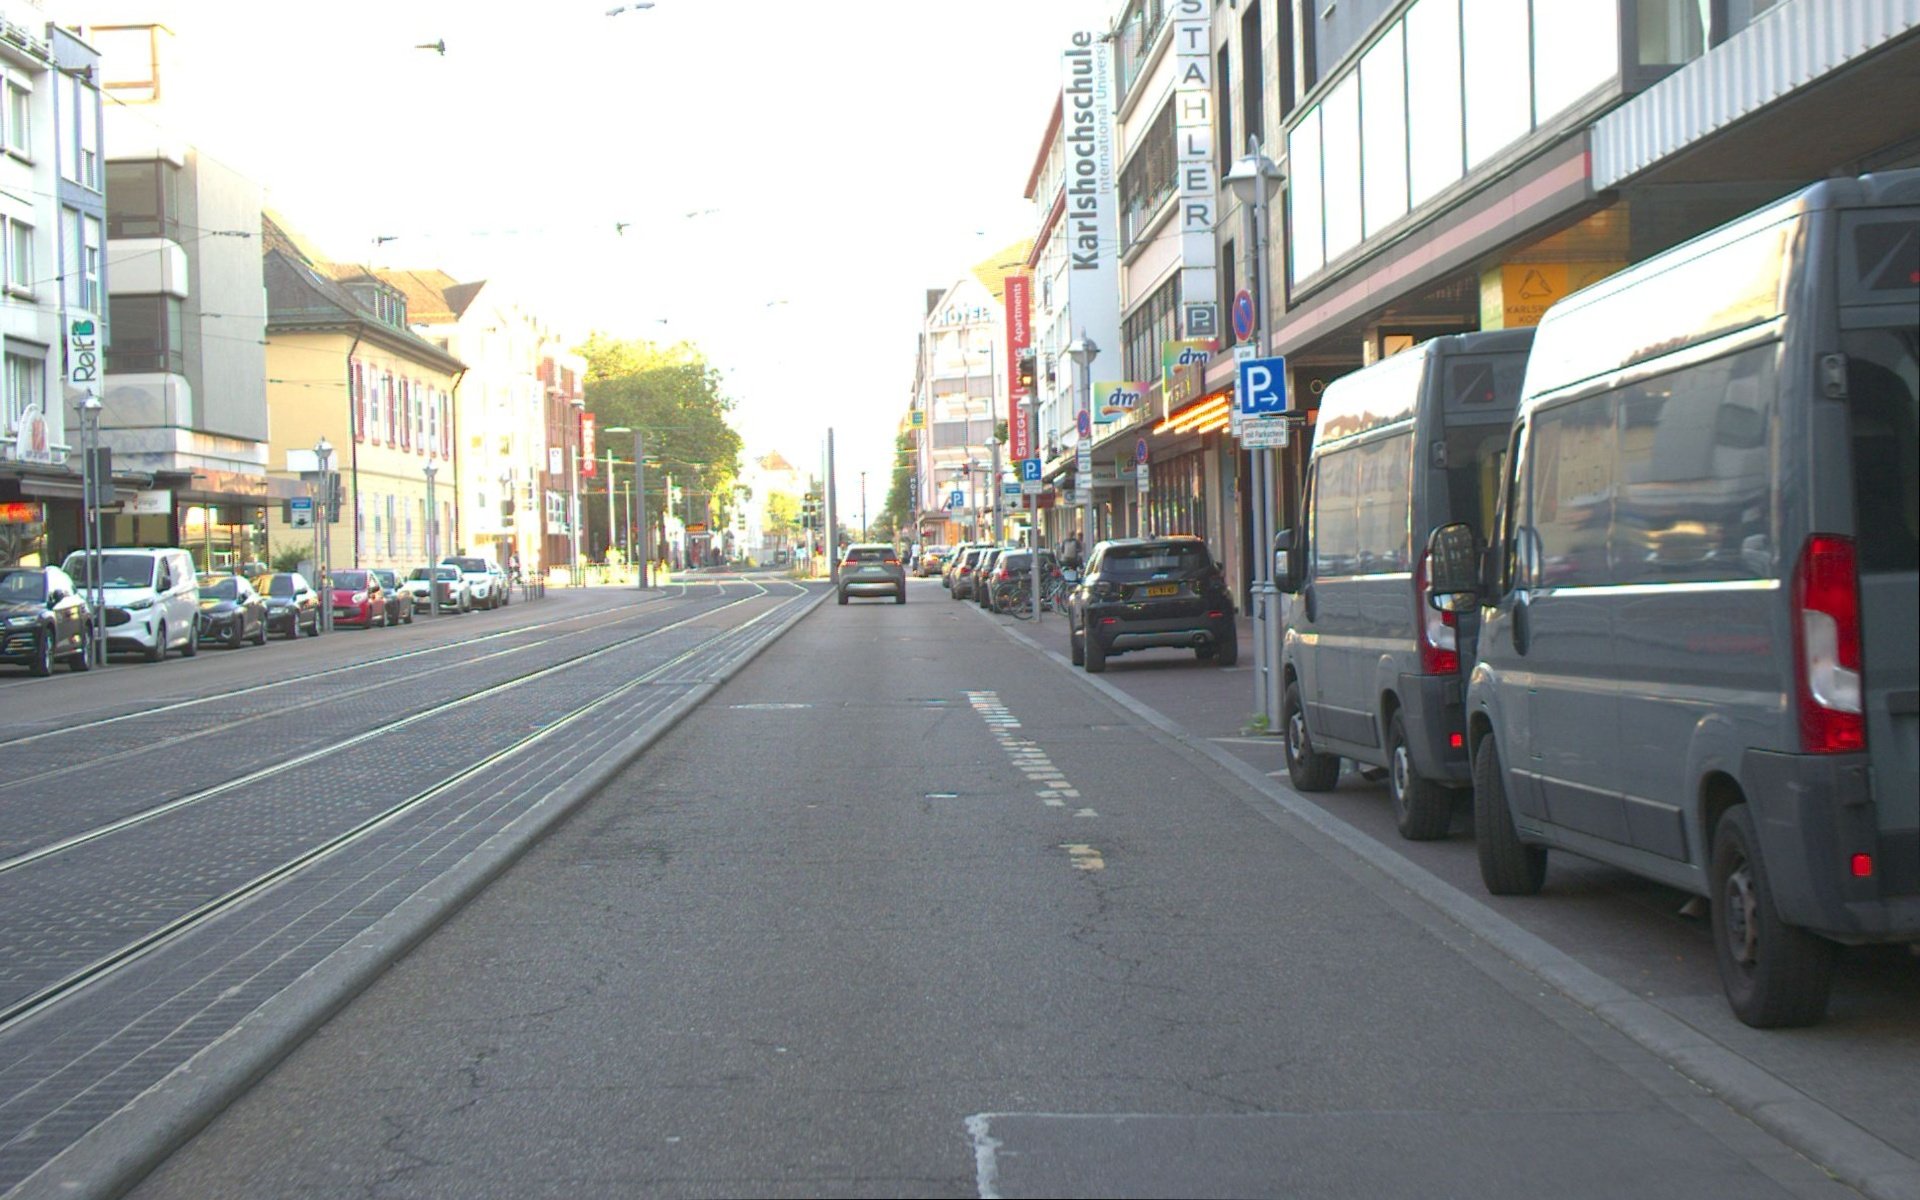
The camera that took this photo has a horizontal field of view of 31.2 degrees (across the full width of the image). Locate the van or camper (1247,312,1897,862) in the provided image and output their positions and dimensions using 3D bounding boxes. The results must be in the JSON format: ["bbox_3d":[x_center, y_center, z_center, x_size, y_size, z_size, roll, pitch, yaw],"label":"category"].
[{"bbox_3d":[3.069,-0.100,18.676,2.188,2.418,5.518,-4,1,-2],"label":"van or camper"}]

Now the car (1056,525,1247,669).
[{"bbox_3d":[2.254,-0.077,41.533,1.944,1.539,4.545,-3,1,0],"label":"car"}]

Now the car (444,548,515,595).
[{"bbox_3d":[-15.206,-0.922,108.906,1.790,1.444,3.892,1,1,-2],"label":"car"}]

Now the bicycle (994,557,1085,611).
[{"bbox_3d":[1.666,-0.335,72.125,1.868,1.086,0.545,-2,1,-1],"label":"bicycle"}]

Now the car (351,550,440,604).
[{"bbox_3d":[-14.706,-0.619,89.685,1.790,1.334,3.892,1,1,-2],"label":"car"}]

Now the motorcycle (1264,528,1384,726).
[{"bbox_3d":[2.810,0.181,26.396,0.813,1.412,2.004,-3,1,7],"label":"motorcycle"}]

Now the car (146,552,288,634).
[{"bbox_3d":[-14.619,-0.166,67.873,1.917,1.516,4.630,1,1,-2],"label":"car"}]

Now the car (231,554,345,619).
[{"bbox_3d":[-14.460,-0.309,74.171,1.790,1.334,3.892,1,1,-2],"label":"car"}]

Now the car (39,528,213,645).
[{"bbox_3d":[-14.573,-0.258,60.348,1.917,1.929,4.842,1,1,-1],"label":"car"}]

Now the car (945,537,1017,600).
[{"bbox_3d":[0.595,-0.957,101.080,1.944,1.697,4.545,-3,1,0],"label":"car"}]

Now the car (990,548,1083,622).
[{"bbox_3d":[1.731,-0.376,79.372,1.944,1.539,4.545,-3,1,0],"label":"car"}]

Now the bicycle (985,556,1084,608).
[{"bbox_3d":[1.632,-0.392,75.877,2.118,1.086,0.592,-2,1,-3],"label":"bicycle"}]

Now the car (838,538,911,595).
[{"bbox_3d":[-2.352,-0.956,95.959,1.943,1.539,4.545,-1,1,0],"label":"car"}]

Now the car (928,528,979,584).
[{"bbox_3d":[-0.277,-1.785,139.563,1.944,2.138,4.545,-3,1,0],"label":"car"}]

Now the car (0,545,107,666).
[{"bbox_3d":[-14.545,0.044,52.584,1.917,1.757,4.430,1,1,-1],"label":"car"}]

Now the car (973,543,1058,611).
[{"bbox_3d":[1.369,-0.600,86.032,1.944,1.539,4.545,-3,1,0],"label":"car"}]

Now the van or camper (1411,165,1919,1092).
[{"bbox_3d":[3.231,-0.024,12.123,2.188,2.418,6.133,-3,1,-1],"label":"van or camper"}]

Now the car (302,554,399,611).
[{"bbox_3d":[-14.902,-0.451,84.270,1.790,1.334,3.892,1,1,-2],"label":"car"}]

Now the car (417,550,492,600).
[{"bbox_3d":[-15.107,-0.762,102.872,1.790,1.444,3.892,1,1,-2],"label":"car"}]
